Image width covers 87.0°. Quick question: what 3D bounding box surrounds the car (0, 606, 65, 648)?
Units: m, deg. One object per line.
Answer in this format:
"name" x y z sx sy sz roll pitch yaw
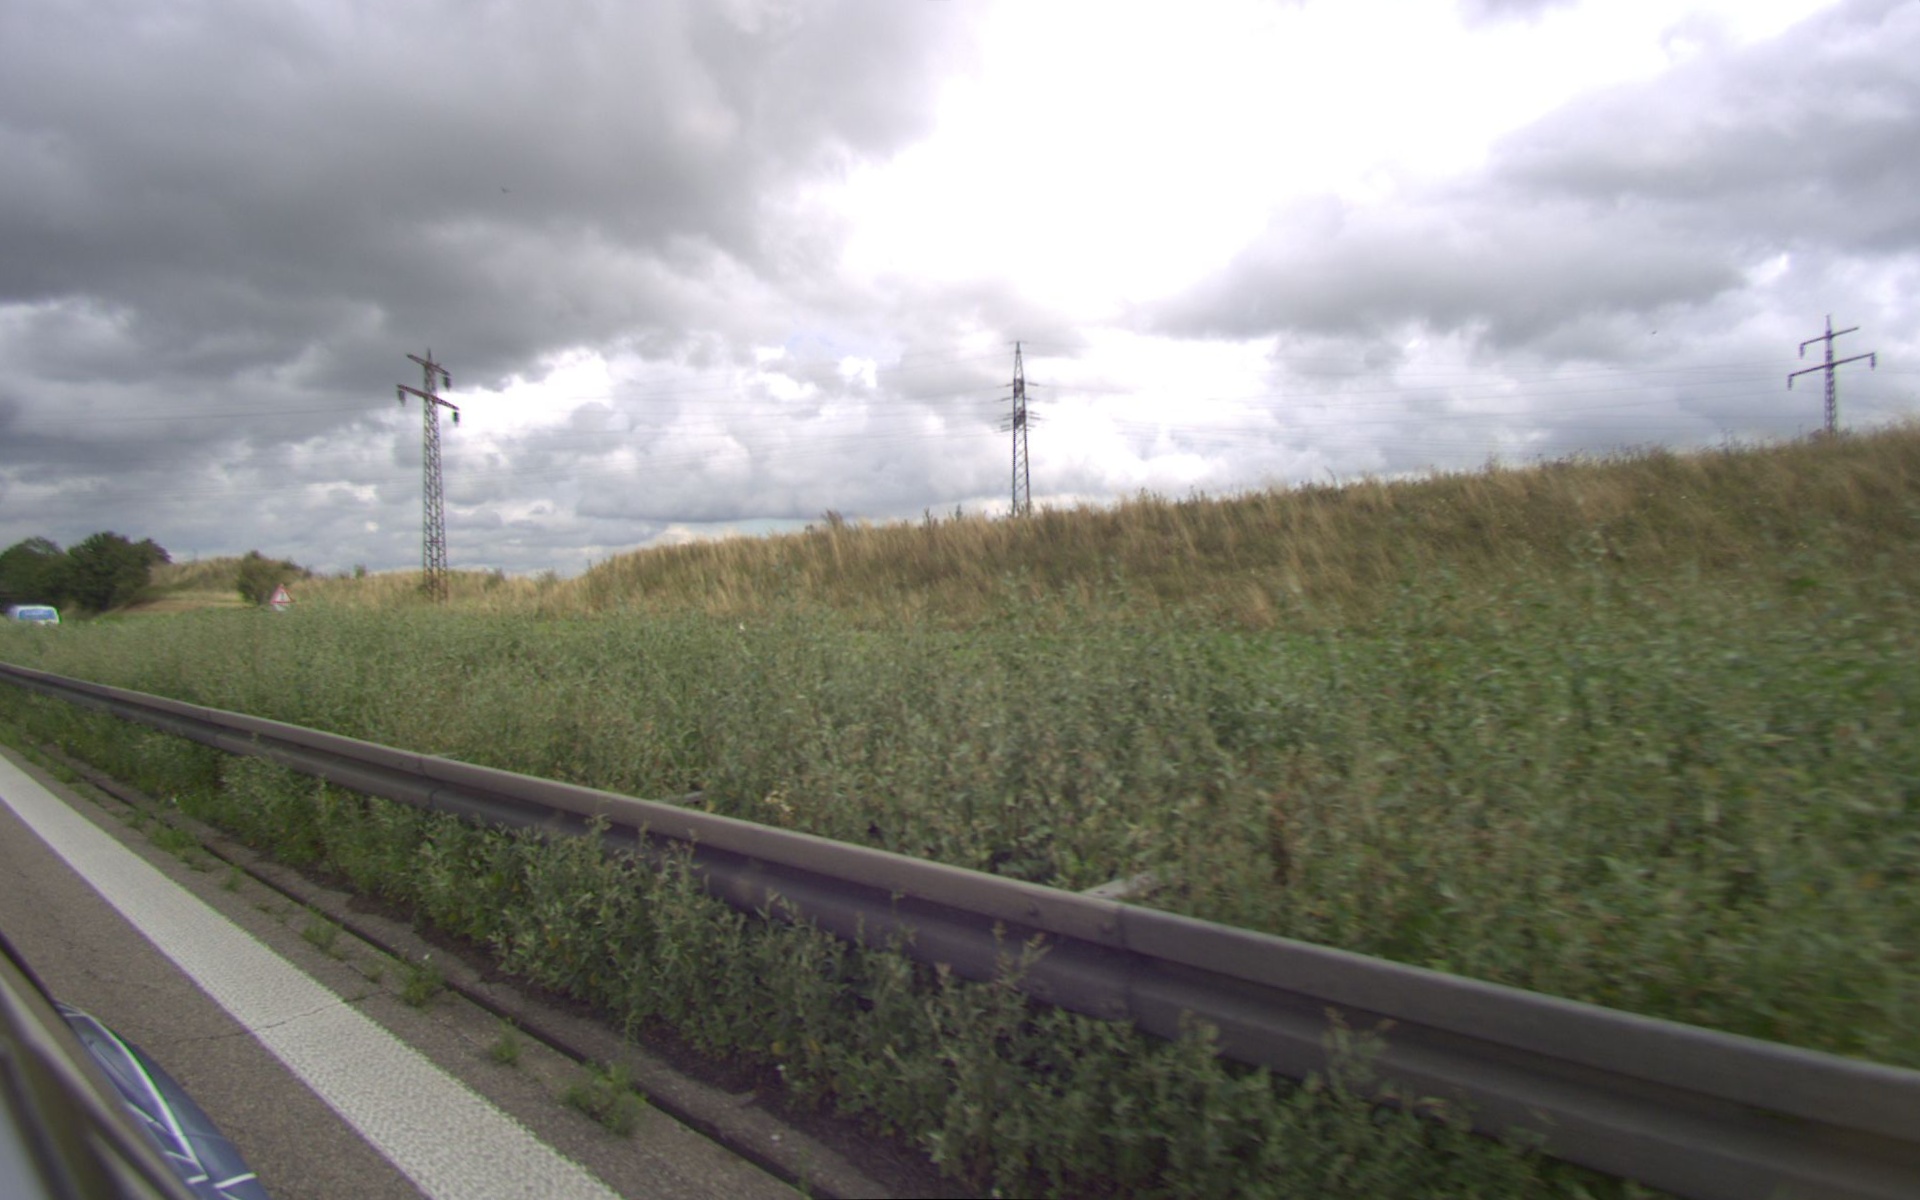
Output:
"car" -48.501 1.373 52.828 5.529 2.029 1.973 -1 0 42

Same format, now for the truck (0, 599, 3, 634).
"truck" -118.903 2.065 122.799 17.398 3.966 2.694 -1 -1 42
